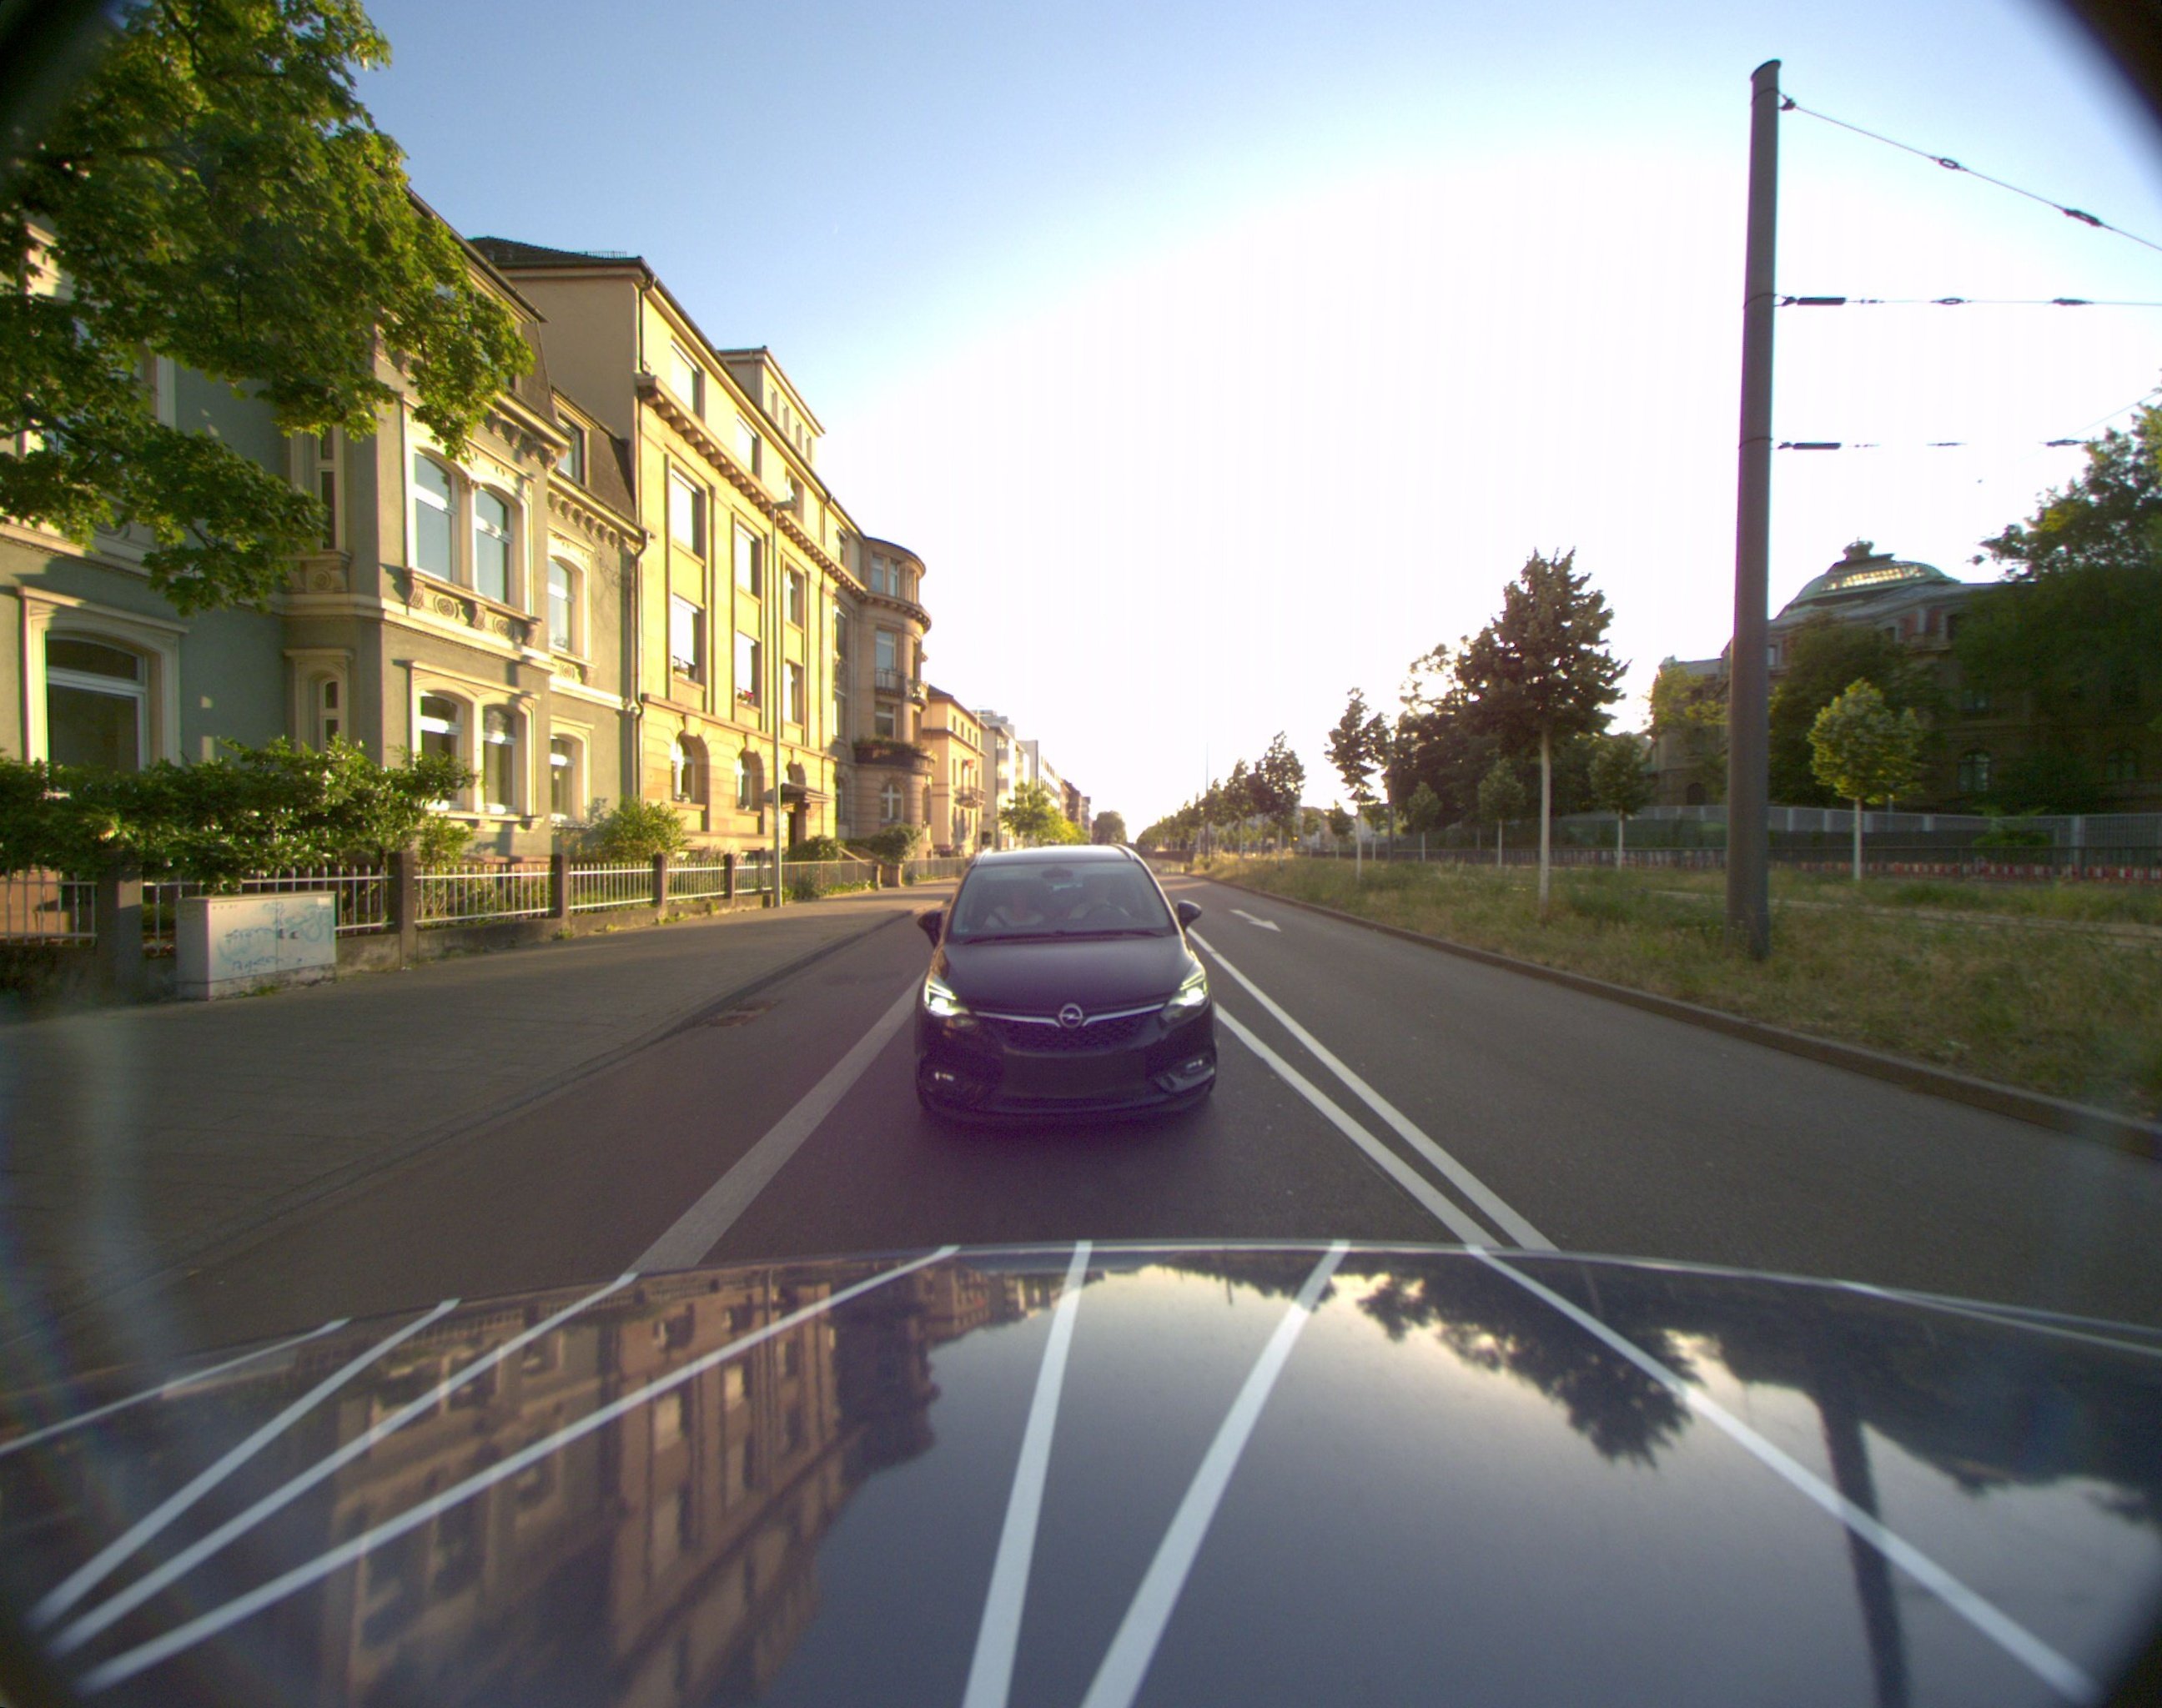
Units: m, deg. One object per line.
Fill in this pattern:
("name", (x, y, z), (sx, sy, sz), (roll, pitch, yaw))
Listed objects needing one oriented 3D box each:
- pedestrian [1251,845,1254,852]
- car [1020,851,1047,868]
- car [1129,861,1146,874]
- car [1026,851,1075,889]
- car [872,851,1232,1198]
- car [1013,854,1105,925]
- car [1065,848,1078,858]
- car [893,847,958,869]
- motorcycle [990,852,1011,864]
("pedestrian", (41.765, -1.305, 184.985), (0.646, 1.702, 0.838), (0, 1, 10))
("car", (-3.853, 0.434, 62.836), (1.882, 1.394, 4.100), (-1, 0, 1))
("car", (6.479, 1.573, 87.645), (1.858, 1.425, 4.844), (-2, -1, 4))
("car", (-1.208, 0.653, 32.045), (1.859, 1.425, 4.843), (-2, -1, -1))
("car", (-0.266, 0.834, 6.211), (1.771, 1.649, 4.850), (-1, 1, -3))
("car", (-0.566, 0.764, 18.114), (1.860, 1.425, 4.842), (-2, -1, -3))
("car", (-1.443, -0.189, 121.629), (1.937, 1.472, 4.100), (-1, 0, 1))
("car", (-11.011, 0.245, 53.943), (4.096, 1.472, 1.938), (-1, 1, 3))
("motorcycle", (-7.462, 0.366, 70.271), (1.848, 1.090, 0.576), (-1, 1, 8))
